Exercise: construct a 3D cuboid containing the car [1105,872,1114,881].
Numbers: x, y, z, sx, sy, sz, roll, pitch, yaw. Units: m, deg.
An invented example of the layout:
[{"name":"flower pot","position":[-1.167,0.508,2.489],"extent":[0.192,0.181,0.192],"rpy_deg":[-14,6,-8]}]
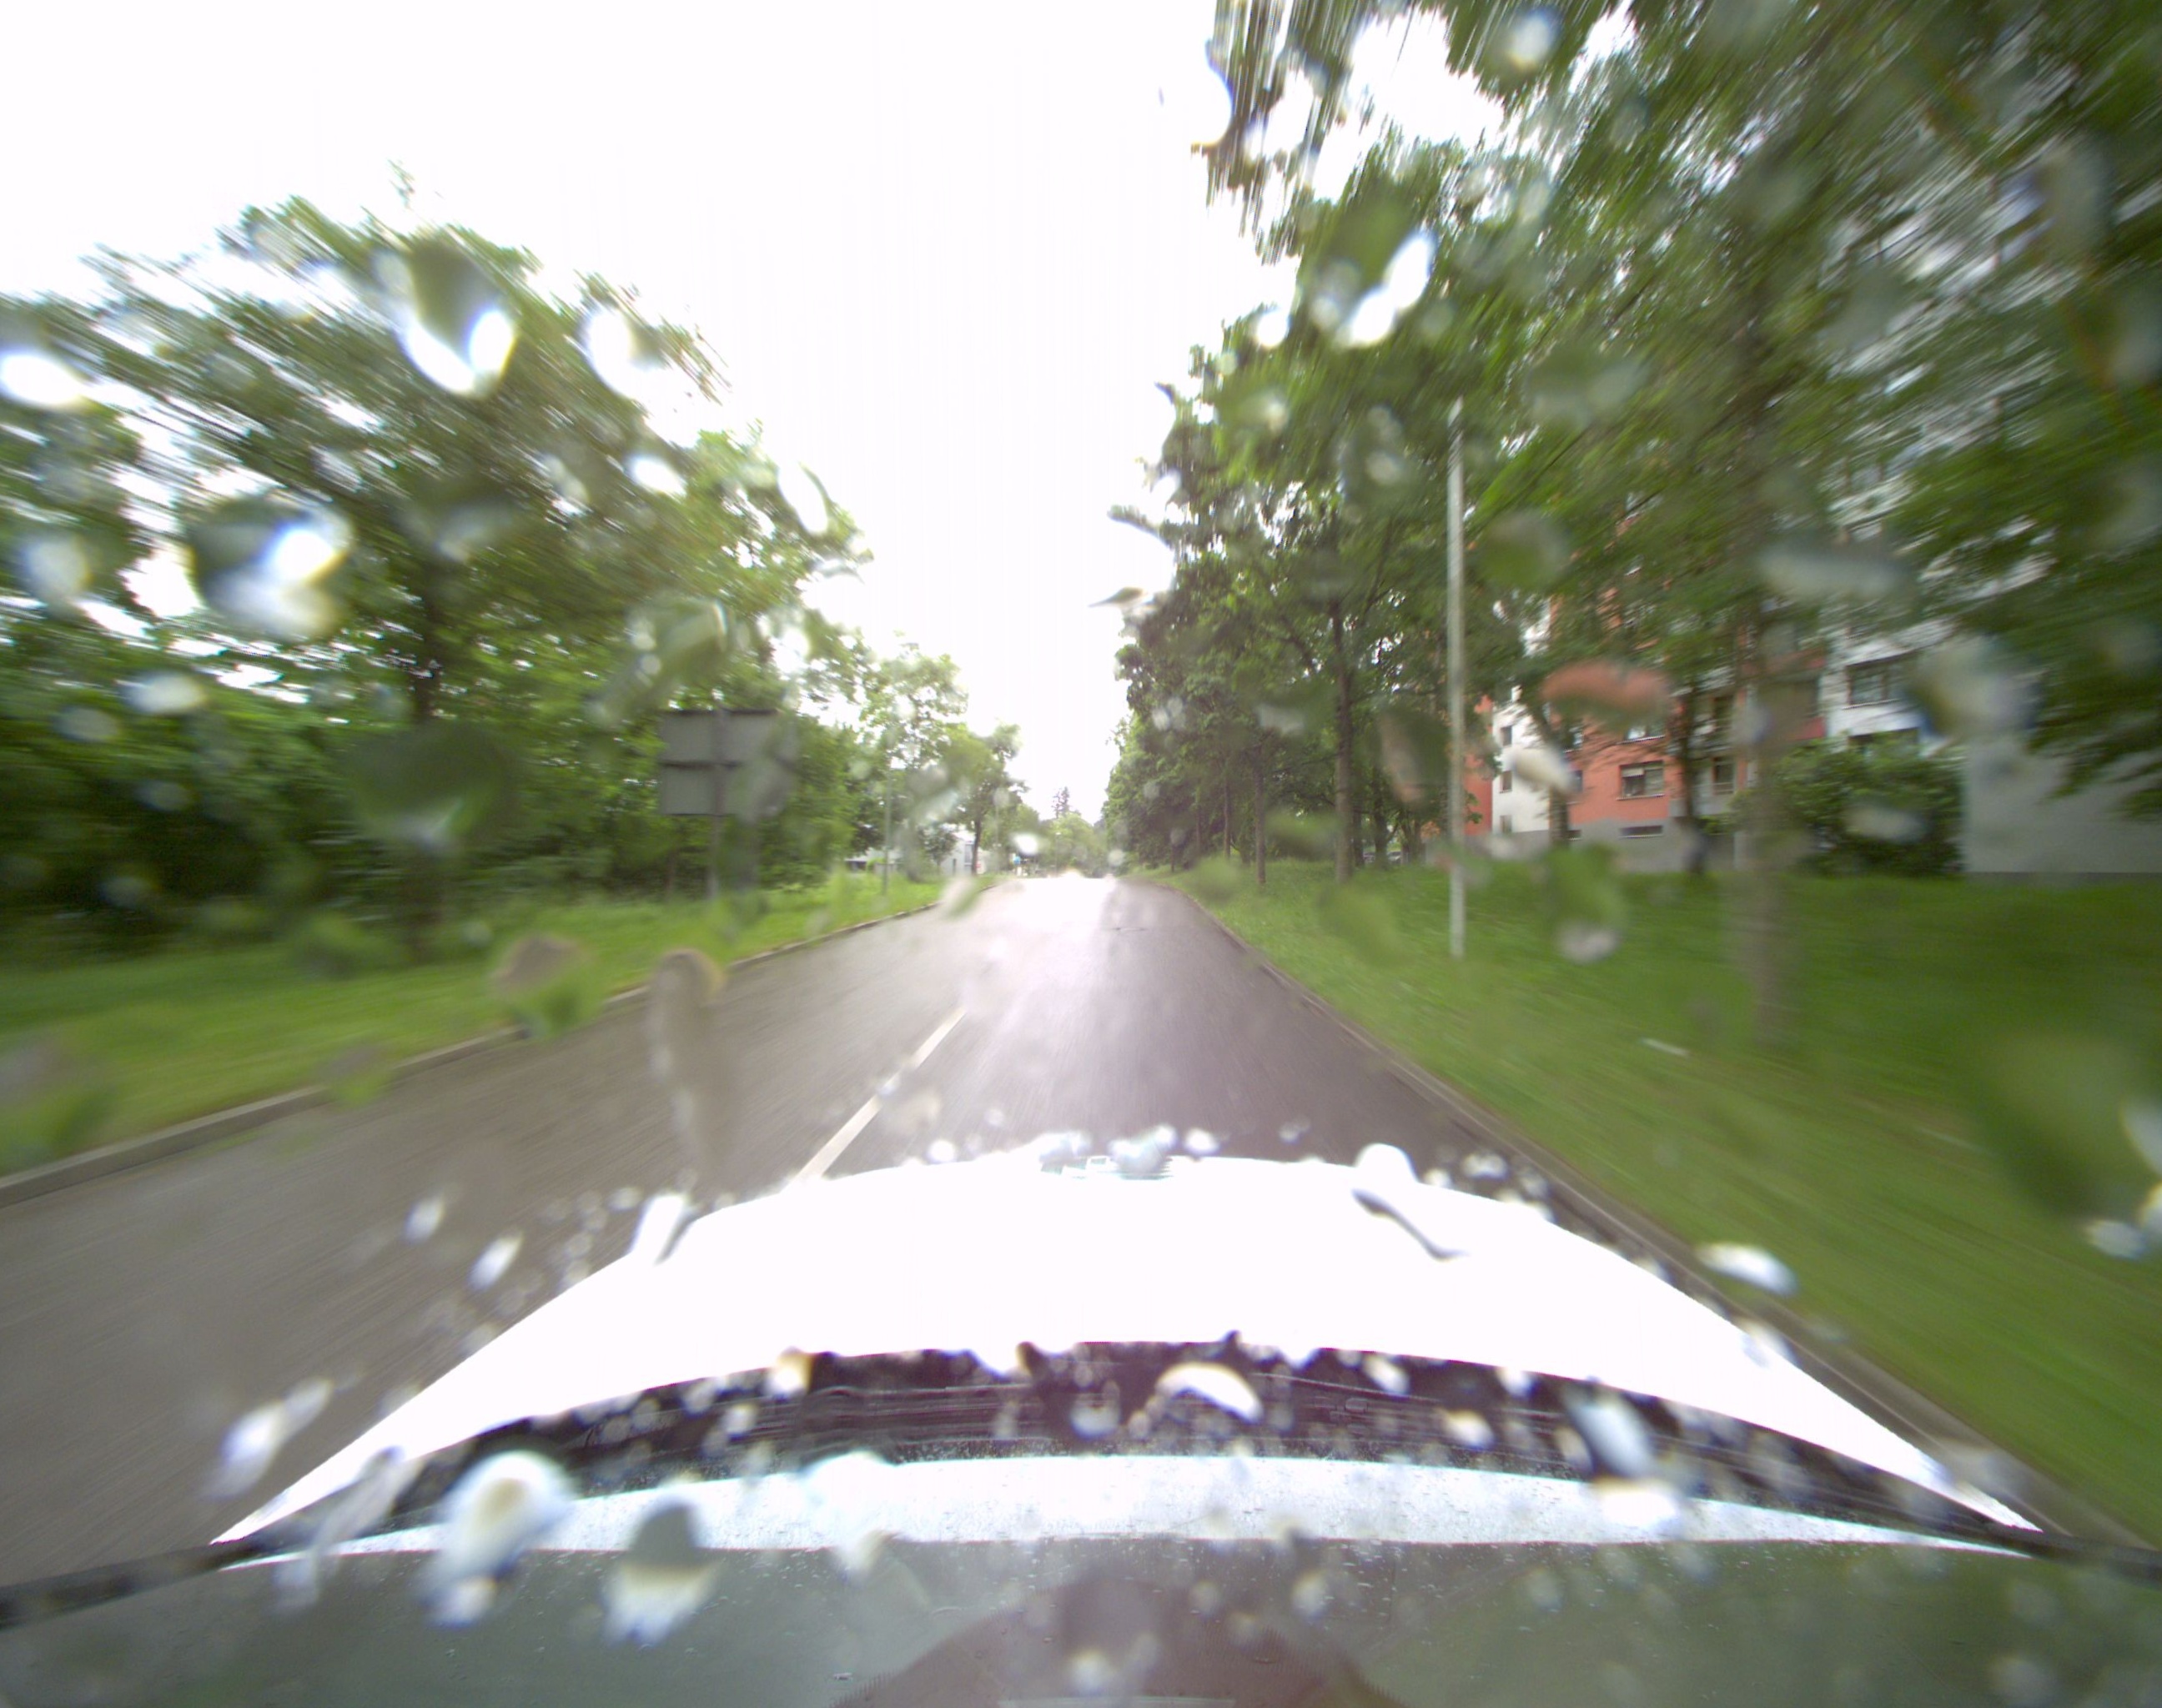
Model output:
[{"name":"car","position":[5.418,4.229,154.507],"extent":[1.730,1.511,4.001],"rpy_deg":[-1,-3,2]}]
